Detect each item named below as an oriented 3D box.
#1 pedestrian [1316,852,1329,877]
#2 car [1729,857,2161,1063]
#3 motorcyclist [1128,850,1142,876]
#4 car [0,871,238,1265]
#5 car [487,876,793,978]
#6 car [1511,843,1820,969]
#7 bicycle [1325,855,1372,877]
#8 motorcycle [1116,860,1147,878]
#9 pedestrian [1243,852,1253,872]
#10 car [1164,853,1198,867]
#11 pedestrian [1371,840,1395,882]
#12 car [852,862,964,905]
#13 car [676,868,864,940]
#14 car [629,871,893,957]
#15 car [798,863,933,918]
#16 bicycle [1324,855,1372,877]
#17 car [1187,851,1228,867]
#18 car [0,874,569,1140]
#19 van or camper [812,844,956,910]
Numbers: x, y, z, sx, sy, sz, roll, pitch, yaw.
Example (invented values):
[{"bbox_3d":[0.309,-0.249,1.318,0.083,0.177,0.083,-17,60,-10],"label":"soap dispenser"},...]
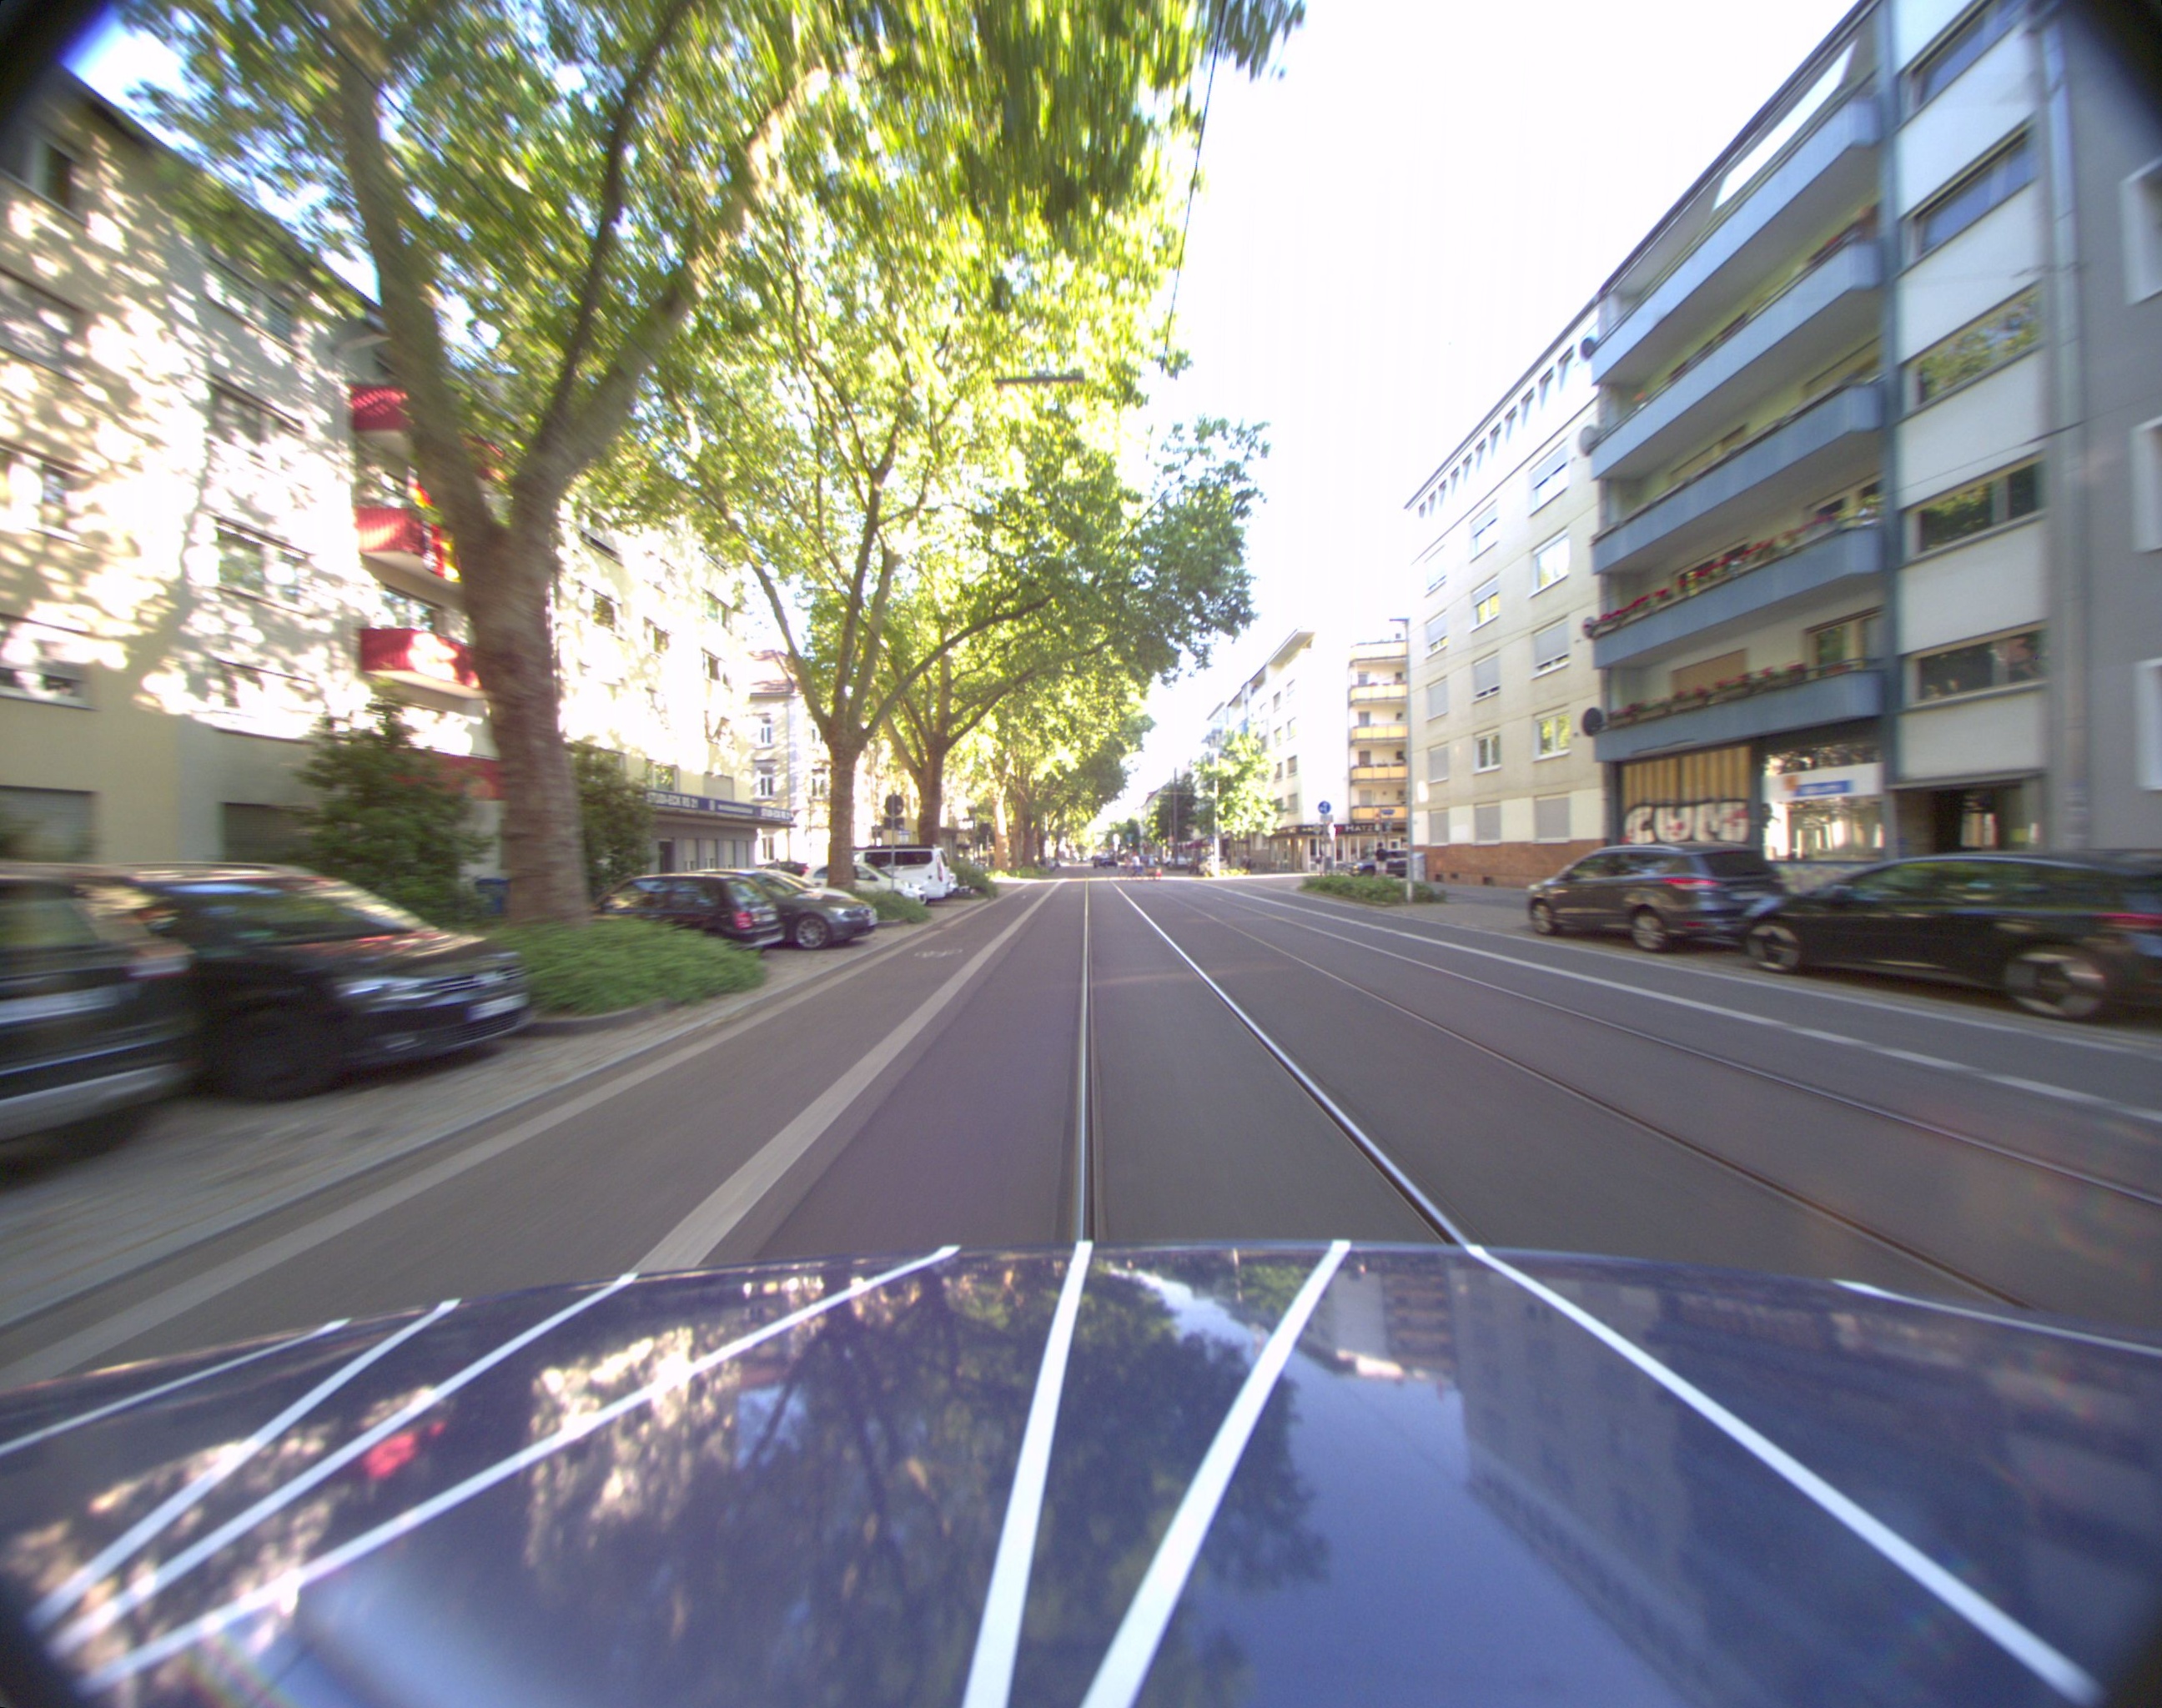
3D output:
[{"bbox_3d":[14.925,0.662,46.978,0.595,1.496,0.656,-2,1,8],"label":"pedestrian"},{"bbox_3d":[9.667,0.877,8.223,1.660,1.591,4.202,-3,0,0],"label":"car"},{"bbox_3d":[3.427,0.564,48.240,0.755,1.609,0.589,-1,1,17],"label":"motorcyclist"},{"bbox_3d":[-6.826,0.996,3.436,4.003,1.734,1.805,-1,0,1],"label":"car"},{"bbox_3d":[-6.829,1.098,12.084,3.836,1.435,1.699,0,1,-2],"label":"car"},{"bbox_3d":[9.700,0.746,13.196,1.784,1.728,4.489,-3,0,-1],"label":"car"},{"bbox_3d":[17.000,0.760,48.297,2.804,1.306,0.539,-2,1,20],"label":"bicycle"},{"bbox_3d":[3.217,0.972,48.301,1.828,1.112,0.591,-1,1,19],"label":"motorcycle"},{"bbox_3d":[13.302,0.632,60.625,0.596,1.496,0.655,-2,1,1],"label":"pedestrian"},{"bbox_3d":[11.923,0.705,90.803,3.953,1.515,1.587,-1,0,4],"label":"car"},{"bbox_3d":[13.928,0.318,35.065,0.773,1.888,0.799,-2,1,8],"label":"pedestrian"},{"bbox_3d":[-6.254,1.069,27.698,3.570,1.431,1.727,-1,1,4],"label":"car"},{"bbox_3d":[-6.790,1.065,16.843,3.483,1.473,1.643,0,1,0],"label":"car"},{"bbox_3d":[-5.948,1.088,14.489,4.206,1.473,1.911,0,1,2],"label":"car"},{"bbox_3d":[-6.444,1.079,22.993,3.572,1.522,1.677,-1,1,-1],"label":"car"},{"bbox_3d":[16.738,0.742,47.694,2.804,1.306,0.539,-2,1,20],"label":"bicycle"},{"bbox_3d":[12.799,0.515,77.078,3.953,1.515,1.587,-1,0,4],"label":"car"},{"bbox_3d":[-6.714,1.036,5.828,4.302,1.643,1.742,-1,1,-2],"label":"car"},{"bbox_3d":[-6.546,0.737,25.604,4.388,2.097,1.838,-1,1,-3],"label":"van or camper"}]
